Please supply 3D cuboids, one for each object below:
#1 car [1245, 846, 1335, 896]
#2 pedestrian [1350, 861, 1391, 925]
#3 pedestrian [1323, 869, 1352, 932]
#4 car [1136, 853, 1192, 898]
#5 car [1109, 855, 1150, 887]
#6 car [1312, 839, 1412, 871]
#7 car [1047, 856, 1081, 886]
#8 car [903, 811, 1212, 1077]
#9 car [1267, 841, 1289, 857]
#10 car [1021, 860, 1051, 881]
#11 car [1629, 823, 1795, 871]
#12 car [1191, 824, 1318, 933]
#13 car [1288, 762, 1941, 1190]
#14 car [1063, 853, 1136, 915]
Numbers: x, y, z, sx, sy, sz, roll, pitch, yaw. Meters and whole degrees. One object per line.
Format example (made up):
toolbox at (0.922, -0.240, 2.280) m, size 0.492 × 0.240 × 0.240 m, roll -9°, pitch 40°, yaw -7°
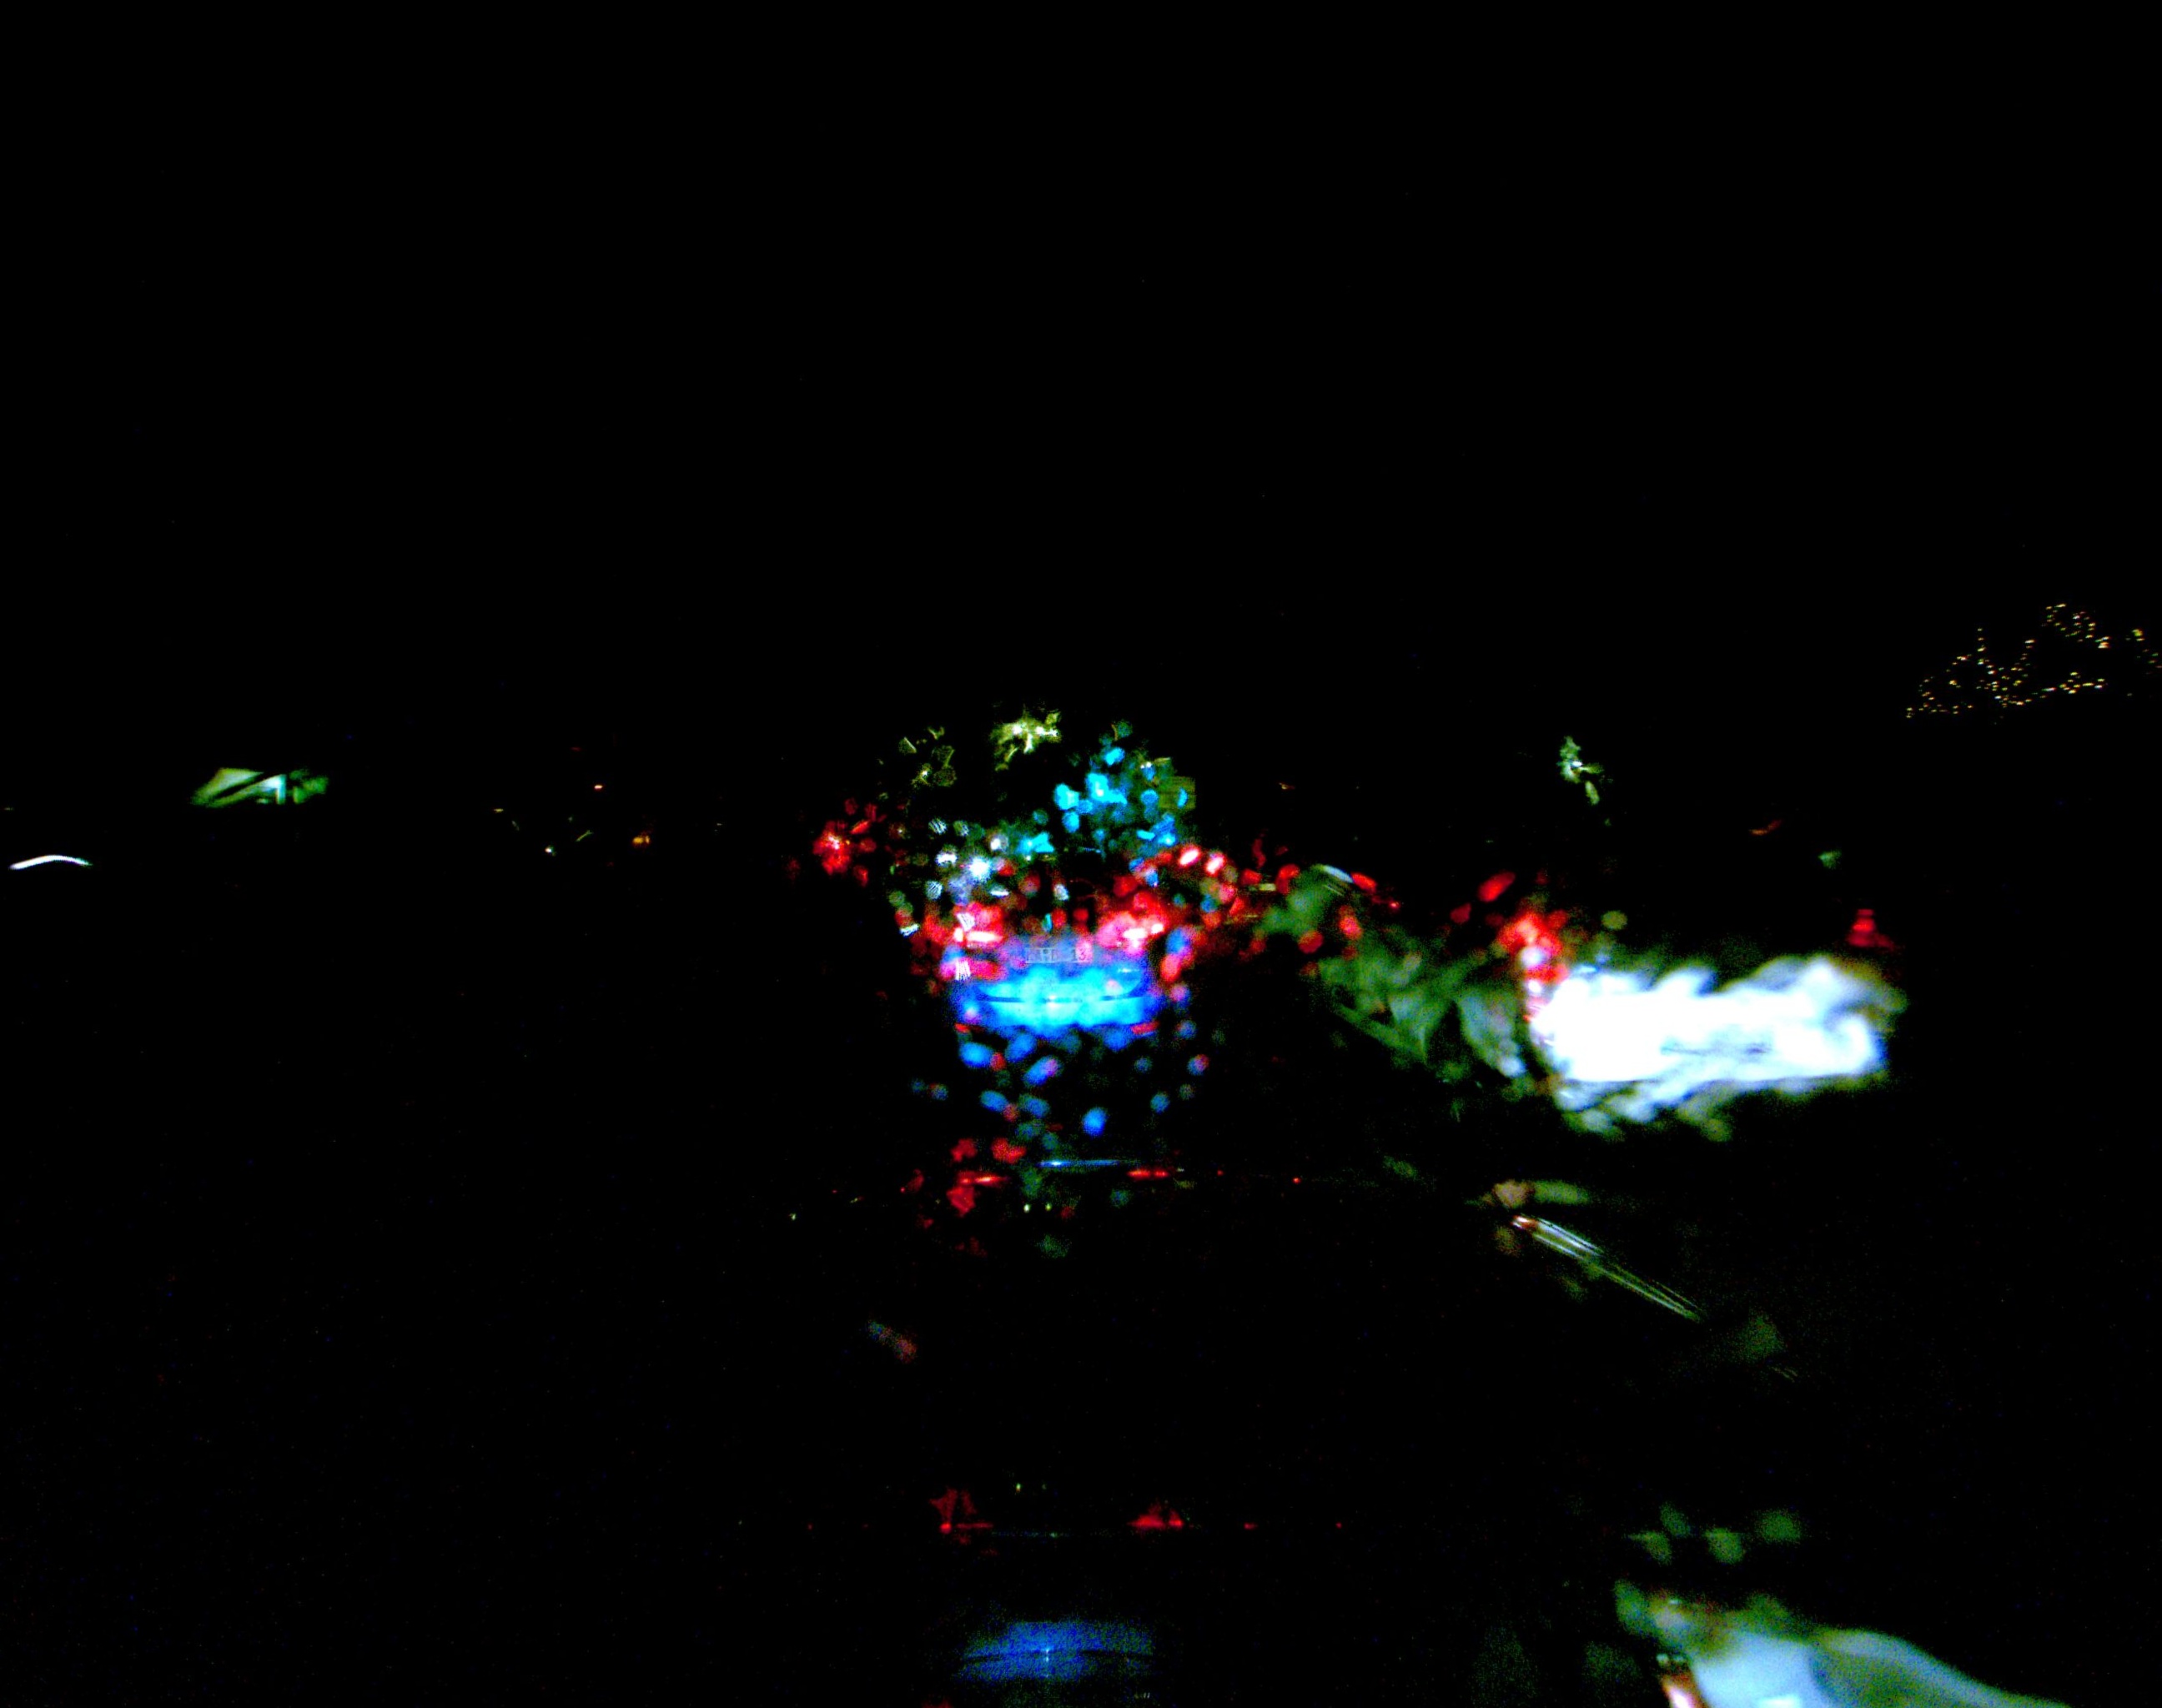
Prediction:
car at (6.562, 0.494, 26.038) m, size 1.779 × 1.442 × 4.237 m, roll -2°, pitch 0°, yaw 0°
pedestrian at (7.849, 1.055, 22.087) m, size 0.865 × 1.702 × 0.617 m, roll 0°, pitch -1°, yaw -13°
pedestrian at (6.976, 1.252, 22.169) m, size 0.621 × 1.702 × 0.541 m, roll 0°, pitch -1°, yaw -1°
car at (3.314, 0.855, 33.077) m, size 1.986 × 1.718 × 4.001 m, roll 0°, pitch -1°, yaw 2°
car at (2.642, 0.932, 45.038) m, size 1.988 × 1.670 × 3.998 m, roll 0°, pitch -1°, yaw -1°
car at (13.596, 0.083, 39.448) m, size 4.286 × 1.460 × 1.863 m, roll -1°, pitch -1°, yaw 30°
car at (-1.174, 1.084, 53.198) m, size 1.990 × 1.824 × 3.993 m, roll 0°, pitch -1°, yaw -5°
car at (-0.103, 0.607, 7.521) m, size 2.007 × 1.717 × 4.452 m, roll 0°, pitch -1°, yaw 1°
car at (25.307, -0.613, 104.892) m, size 1.986 × 2.014 × 4.001 m, roll 0°, pitch -1°, yaw 1°
car at (-3.982, 1.450, 71.574) m, size 1.995 × 1.824 × 3.983 m, roll 0°, pitch -1°, yaw -12°
car at (20.312, -0.188, 26.428) m, size 3.901 × 1.487 × 1.773 m, roll 0°, pitch -1°, yaw 20°
car at (3.531, 0.485, 17.299) m, size 1.961 × 2.047 × 4.001 m, roll 0°, pitch -1°, yaw 2°
car at (2.874, 0.554, 5.731) m, size 1.845 × 1.865 × 4.342 m, roll 0°, pitch -1°, yaw 2°
car at (0.581, 0.847, 24.265) m, size 1.986 × 1.684 × 4.001 m, roll 0°, pitch -1°, yaw 2°
